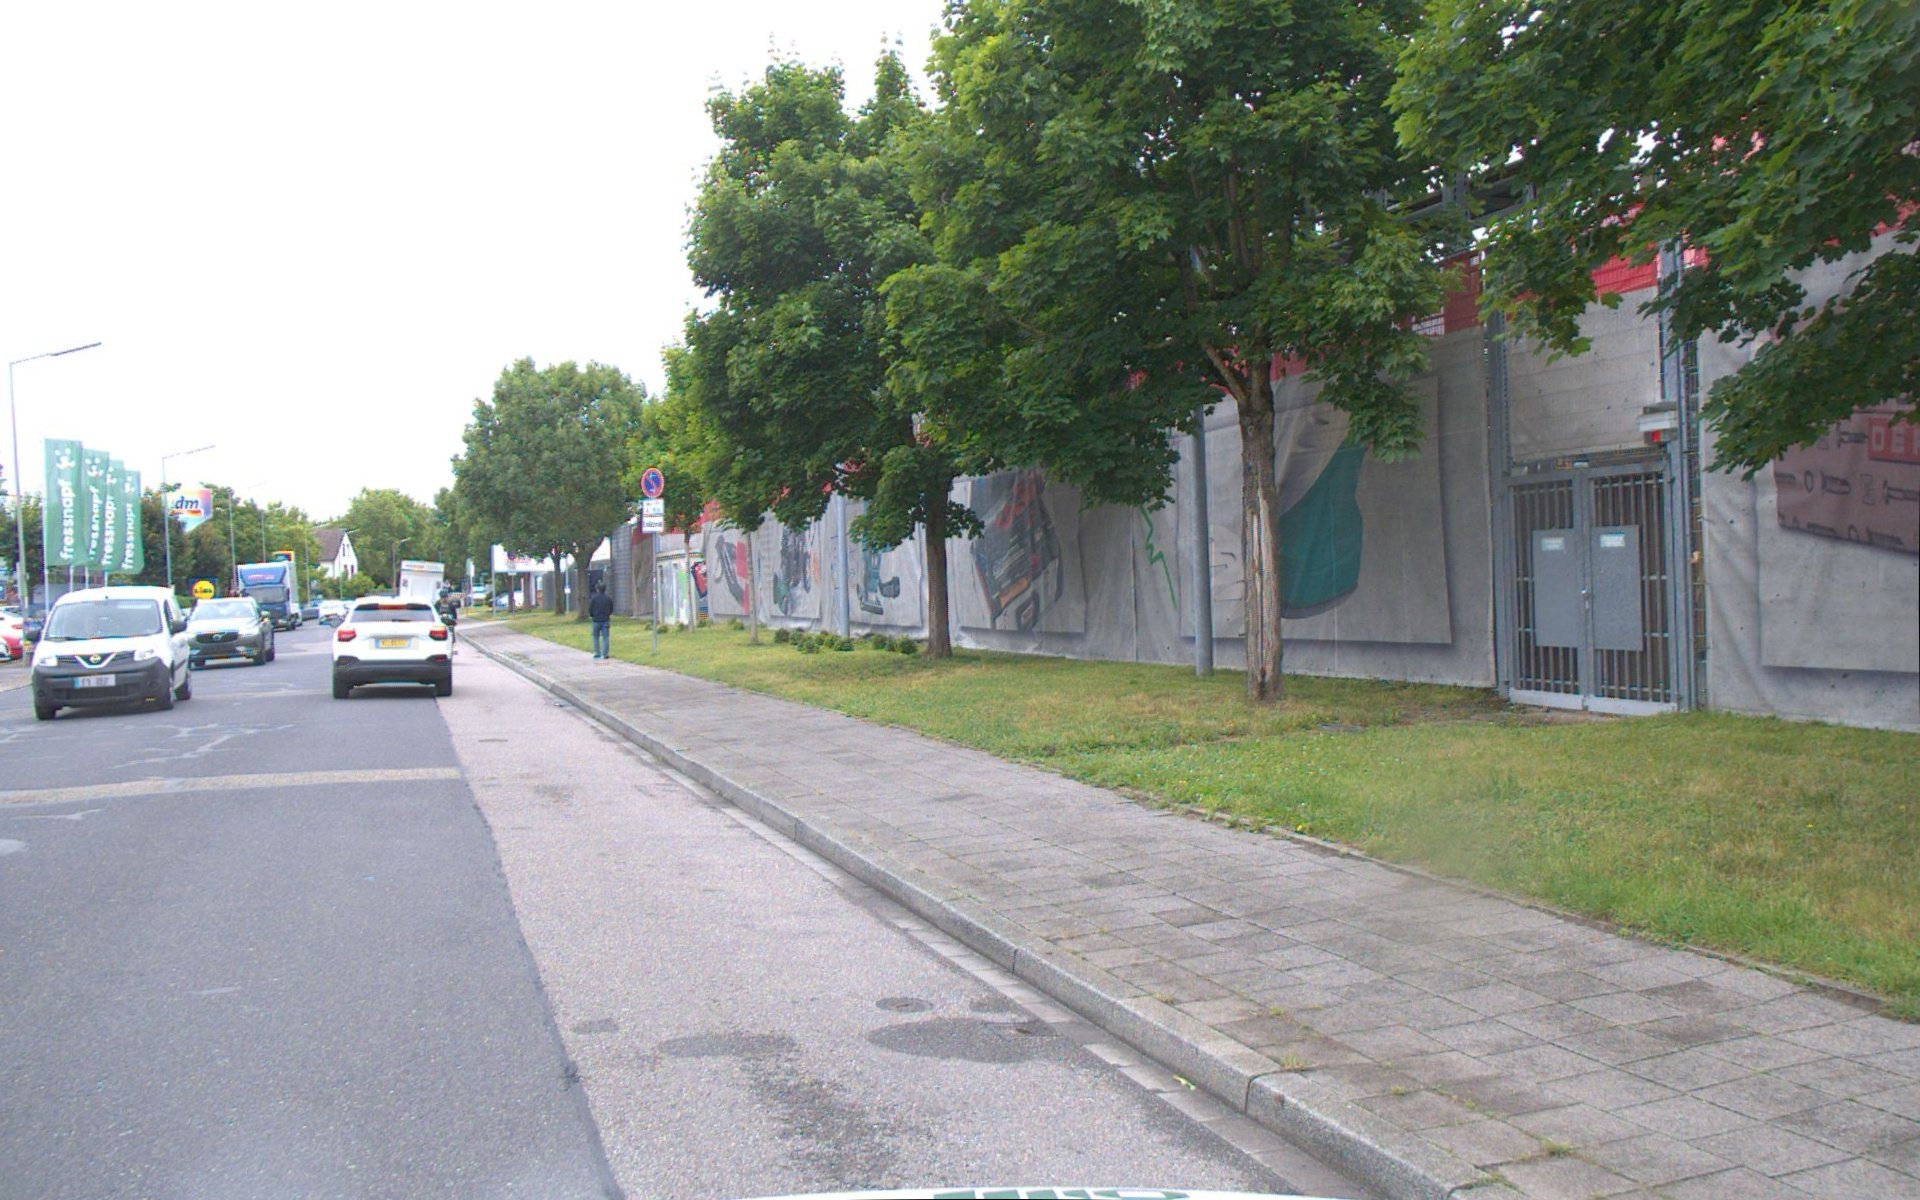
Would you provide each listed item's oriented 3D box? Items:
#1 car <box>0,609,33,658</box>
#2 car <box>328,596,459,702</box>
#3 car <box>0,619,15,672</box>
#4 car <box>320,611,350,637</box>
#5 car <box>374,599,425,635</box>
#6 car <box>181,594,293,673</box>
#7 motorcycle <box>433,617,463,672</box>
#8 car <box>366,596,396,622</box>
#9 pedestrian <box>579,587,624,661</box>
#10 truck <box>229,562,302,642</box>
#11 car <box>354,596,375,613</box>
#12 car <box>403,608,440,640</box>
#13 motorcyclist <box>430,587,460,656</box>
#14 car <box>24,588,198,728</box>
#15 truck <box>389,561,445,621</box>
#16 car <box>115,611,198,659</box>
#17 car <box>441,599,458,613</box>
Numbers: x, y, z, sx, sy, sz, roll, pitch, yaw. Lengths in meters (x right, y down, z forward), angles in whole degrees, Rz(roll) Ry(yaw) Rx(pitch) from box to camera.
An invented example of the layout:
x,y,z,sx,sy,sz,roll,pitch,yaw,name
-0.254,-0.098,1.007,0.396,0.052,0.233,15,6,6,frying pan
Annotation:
x,y,z,sx,sy,sz,roll,pitch,yaw,name
-31.417,1.117,51.657,4.083,1.488,1.884,-3,1,-25,car
-9.110,0.728,26.747,1.857,1.558,4.232,0,0,-18,car
-29.480,1.419,47.217,4.154,1.488,1.936,-4,1,-27,car
-40.387,1.553,106.853,1.575,1.554,3.509,-4,1,-18,car
-23.730,0.696,69.966,1.909,1.391,3.977,-3,1,-19,car
-17.719,0.765,40.719,1.903,1.713,4.474,-3,1,-17,car
-12.094,1.034,39.093,0.631,1.199,2.103,-2,1,-17,motorcycle
-41.097,0.630,117.333,1.843,1.690,3.975,-3,1,-21,car
-8.158,0.541,37.598,0.904,1.663,0.848,-1,-1,-17,pedestrian
-37.694,0.071,89.979,2.929,4.024,6.371,-4,1,-18,truck
-61.943,0.446,172.141,1.752,1.684,3.719,-1,0,-25,car
-31.832,1.427,97.750,1.964,1.837,3.976,-1,0,-20,car
-12.235,0.505,39.288,0.615,1.581,0.601,-2,0,-17,motorcyclist
-12.498,0.783,24.578,1.665,1.791,4.110,-4,1,-20,car
-34.866,-0.532,106.055,3.089,3.647,9.990,-1,0,-20,truck
-25.731,1.084,53.078,1.869,1.391,3.978,-2,1,-19,car
-60.832,0.719,197.146,1.857,1.713,4.232,0,0,-18,car
